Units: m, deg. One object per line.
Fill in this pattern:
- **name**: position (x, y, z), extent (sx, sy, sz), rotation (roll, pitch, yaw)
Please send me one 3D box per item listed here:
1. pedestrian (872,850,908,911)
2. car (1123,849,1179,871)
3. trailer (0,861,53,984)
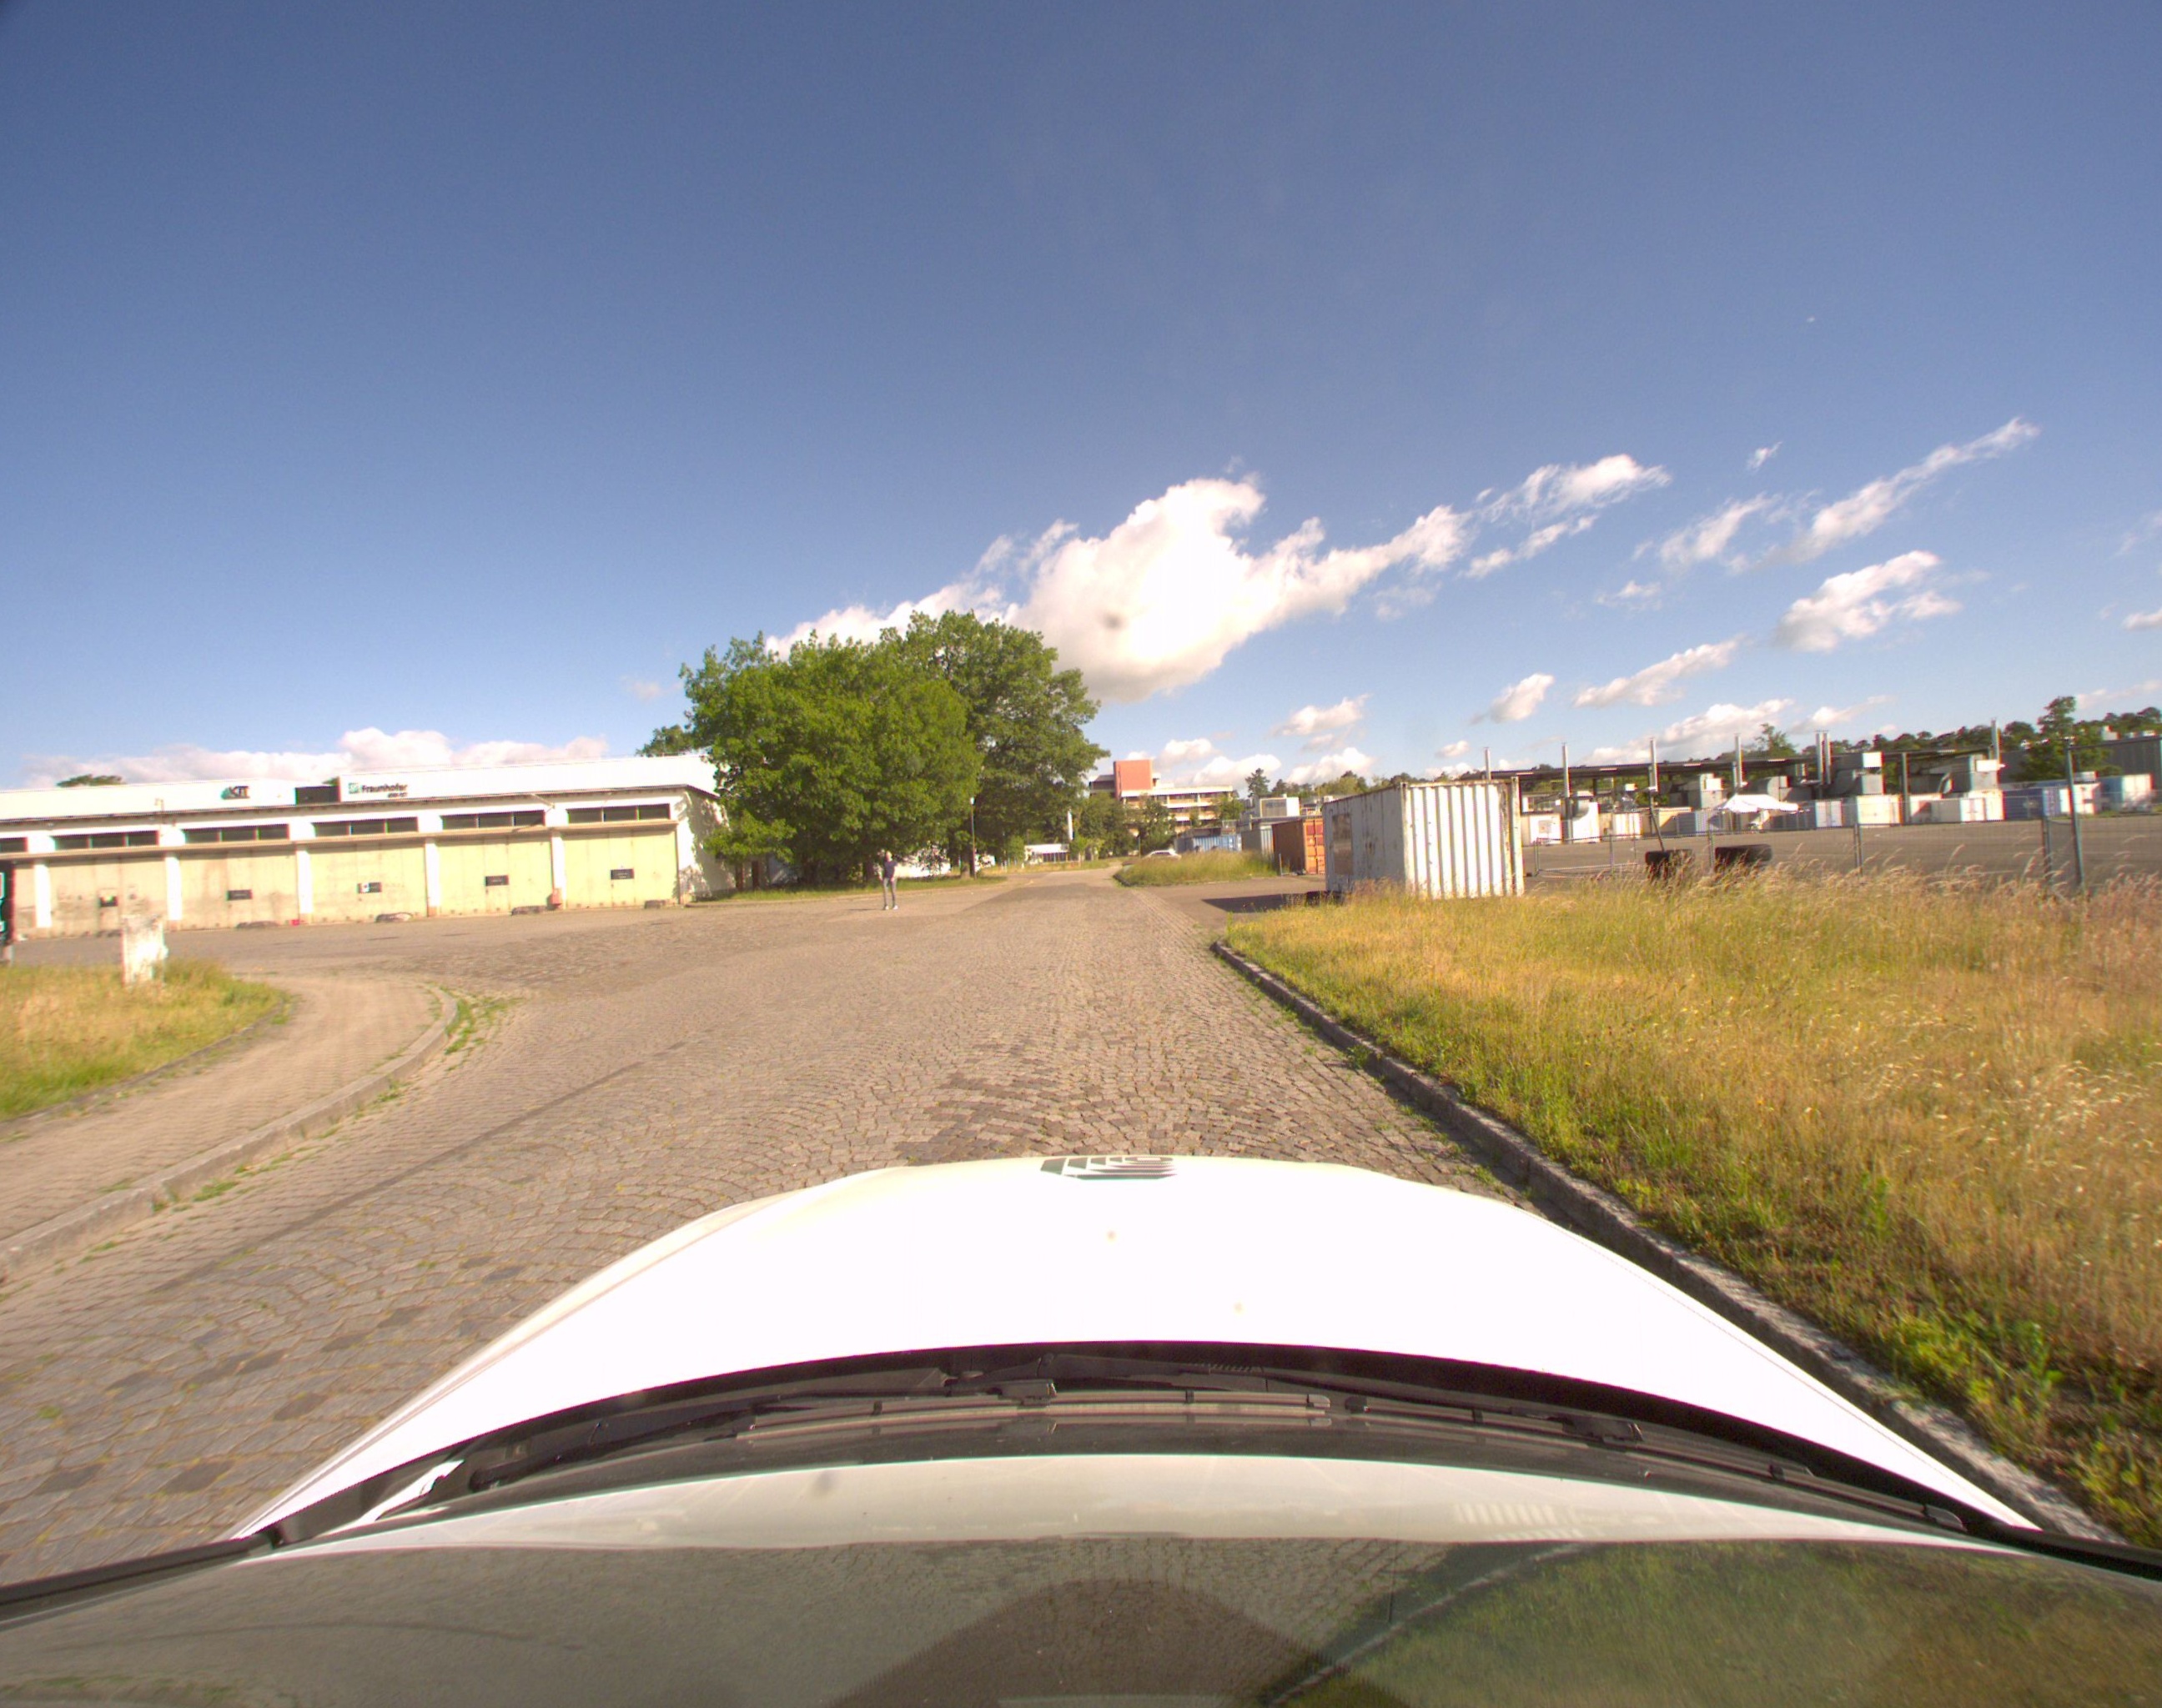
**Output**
- **pedestrian**: position (-6.303, 0.854, 26.939), extent (0.795, 1.914, 1.142), rotation (-3, 0, 1)
- **car**: position (6.048, 0.497, 70.675), extent (4.574, 1.677, 1.874), rotation (-3, 0, -1)
- **trailer**: position (-20.991, 1.285, 13.560), extent (2.001, 2.273, 4.467), rotation (-3, -1, 0)
